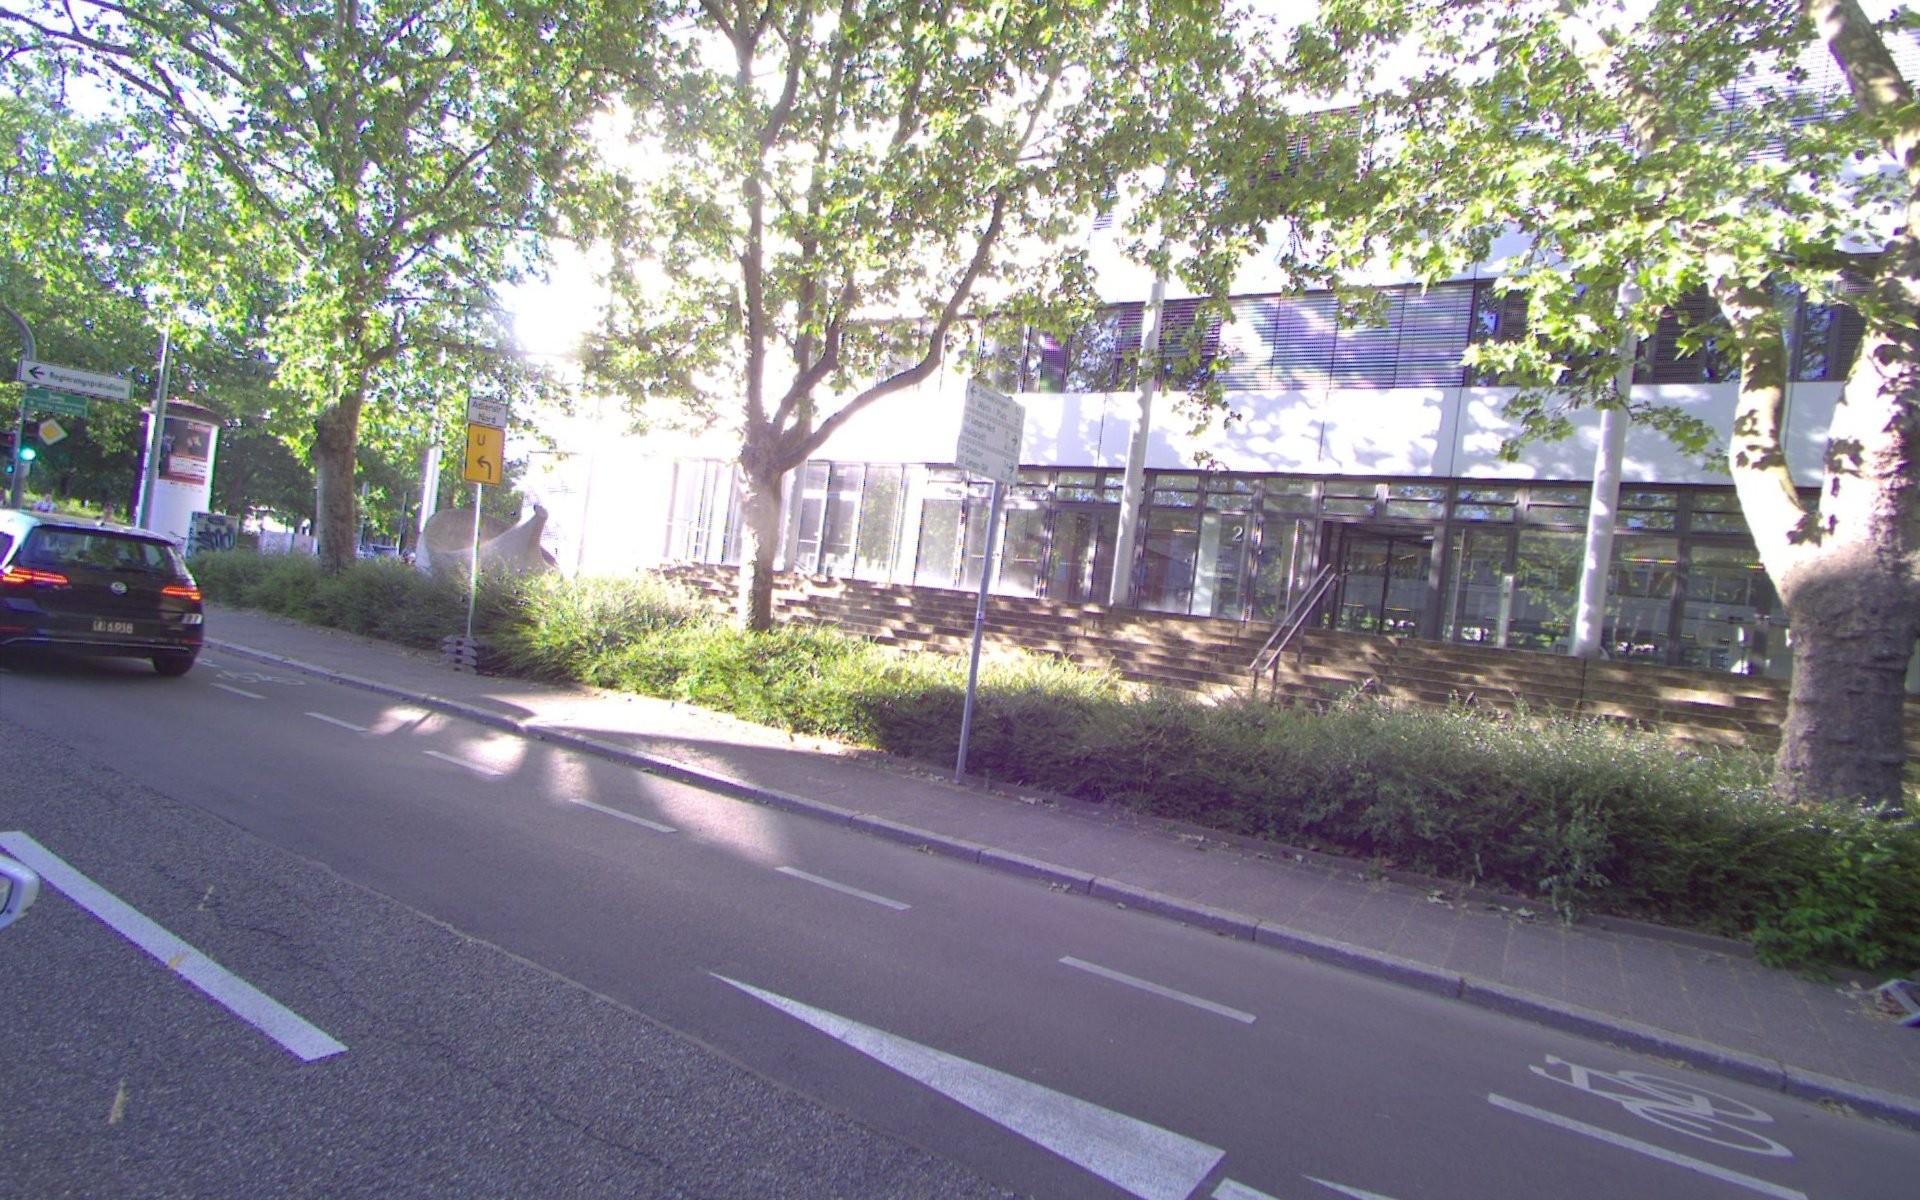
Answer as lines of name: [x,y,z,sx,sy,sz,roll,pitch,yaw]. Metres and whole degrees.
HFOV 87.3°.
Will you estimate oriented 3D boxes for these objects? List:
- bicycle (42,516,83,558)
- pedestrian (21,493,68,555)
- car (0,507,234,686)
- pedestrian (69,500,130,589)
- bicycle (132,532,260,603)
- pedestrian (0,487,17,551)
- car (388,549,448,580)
bicycle: [-27.392,-1.926,30.697,1.715,1.113,0.524,6,-1,37]
pedestrian: [-27.657,-2.303,30.393,0.955,1.717,0.684,6,-1,35]
car: [-9.327,-0.137,10.230,3.837,1.457,1.693,6,-2,32]
pedestrian: [-17.037,-1.094,19.928,0.795,1.651,0.897,5,0,-41]
bicycle: [-15.947,-0.655,21.057,0.519,1.203,1.980,7,-2,30]
pedestrian: [-28.250,-2.399,29.414,0.895,1.830,0.732,5,0,36]
car: [-35.570,-2.327,65.973,3.732,1.500,1.633,6,-2,31]
